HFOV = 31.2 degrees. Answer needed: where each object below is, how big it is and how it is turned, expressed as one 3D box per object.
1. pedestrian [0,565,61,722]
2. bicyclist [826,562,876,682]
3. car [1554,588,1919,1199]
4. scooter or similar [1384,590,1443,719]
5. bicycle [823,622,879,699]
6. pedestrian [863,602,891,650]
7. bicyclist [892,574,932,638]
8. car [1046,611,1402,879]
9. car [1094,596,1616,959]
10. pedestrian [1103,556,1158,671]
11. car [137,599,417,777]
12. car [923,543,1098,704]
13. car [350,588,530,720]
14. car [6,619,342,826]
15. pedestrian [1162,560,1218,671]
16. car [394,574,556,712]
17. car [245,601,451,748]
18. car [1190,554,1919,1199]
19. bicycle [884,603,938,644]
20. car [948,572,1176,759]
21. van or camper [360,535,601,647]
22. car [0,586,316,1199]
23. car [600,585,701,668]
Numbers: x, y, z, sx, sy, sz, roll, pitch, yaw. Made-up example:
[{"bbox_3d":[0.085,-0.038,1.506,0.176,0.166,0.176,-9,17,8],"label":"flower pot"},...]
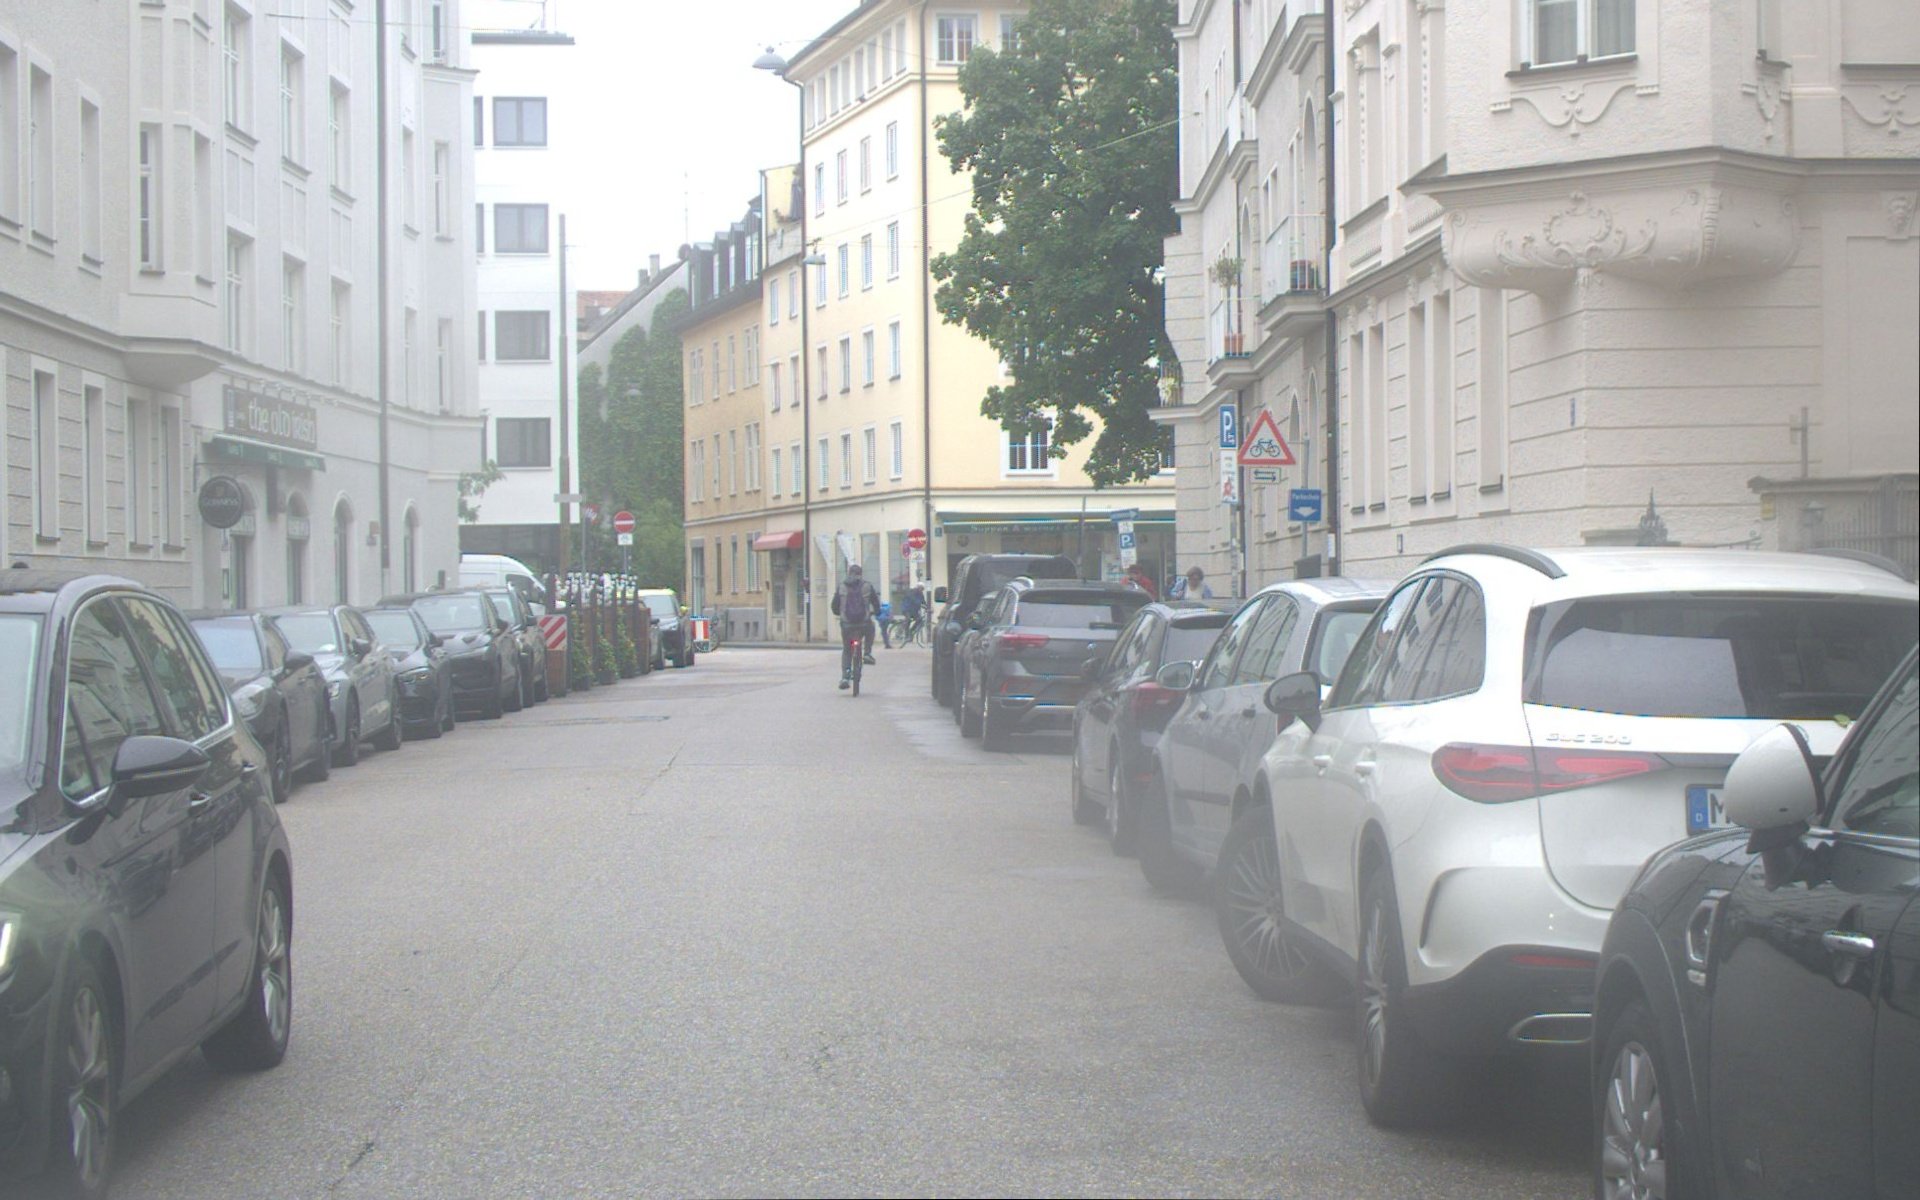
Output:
[{"bbox_3d":[-10.275,0.469,37.700,0.697,1.701,0.665,0,0,-5],"label":"pedestrian"},{"bbox_3d":[-1.484,0.293,46.707,0.606,1.601,0.757,-1,1,2],"label":"bicyclist"},{"bbox_3d":[2.224,0.757,5.290,1.748,1.519,4.170,0,1,-2],"label":"car"},{"bbox_3d":[4.720,0.555,35.831,0.507,1.283,1.351,-3,0,6],"label":"scooter or similar"},{"bbox_3d":[-1.476,0.809,46.717,0.639,1.001,1.574,-1,0,2],"label":"bicycle"},{"bbox_3d":[-2.257,0.702,93.535,0.699,1.266,0.651,-1,0,2],"label":"pedestrian"},{"bbox_3d":[-1.239,0.145,88.057,0.781,1.632,0.976,0,0,-16],"label":"bicyclist"},{"bbox_3d":[1.488,0.795,20.700,1.612,1.390,4.001,1,1,-3],"label":"car"},{"bbox_3d":[1.742,0.740,16.428,1.708,1.496,4.001,0,0,-5],"label":"car"},{"bbox_3d":[2.589,0.200,52.271,0.703,1.722,0.703,-2,0,-5],"label":"pedestrian"},{"bbox_3d":[-6.246,0.760,31.914,1.794,1.415,4.511,-3,0,-2],"label":"car"},{"bbox_3d":[0.580,0.266,43.488,1.911,1.879,4.714,2,0,-2],"label":"car"},{"bbox_3d":[-6.300,0.617,41.993,1.741,1.482,4.181,-1,0,-3],"label":"car"},{"bbox_3d":[-5.947,0.874,26.522,1.849,1.362,4.703,-1,1,-5],"label":"car"},{"bbox_3d":[3.532,0.233,52.821,0.679,1.668,0.654,-3,1,-4],"label":"pedestrian"},{"bbox_3d":[-6.540,0.537,46.728,1.746,1.667,4.276,-4,1,-3],"label":"car"},{"bbox_3d":[-6.538,0.759,37.114,1.810,1.380,4.444,-2,1,-6],"label":"car"},{"bbox_3d":[1.860,0.707,10.568,1.895,1.630,4.392,-1,1,-1],"label":"car"},{"bbox_3d":[-1.273,0.593,88.197,0.846,0.998,2.170,0,1,-16],"label":"bicycle"},{"bbox_3d":[0.884,0.555,31.923,1.707,1.582,4.001,1,1,-4],"label":"car"},{"bbox_3d":[-12.086,-0.223,86.599,5.903,2.668,1.873,-1,-1,-10],"label":"van or camper"},{"bbox_3d":[-2.914,0.775,9.086,1.724,1.528,4.086,-3,0,-2],"label":"car"},{"bbox_3d":[-6.333,0.529,70.670,1.676,1.591,3.945,-3,0,0],"label":"car"}]
